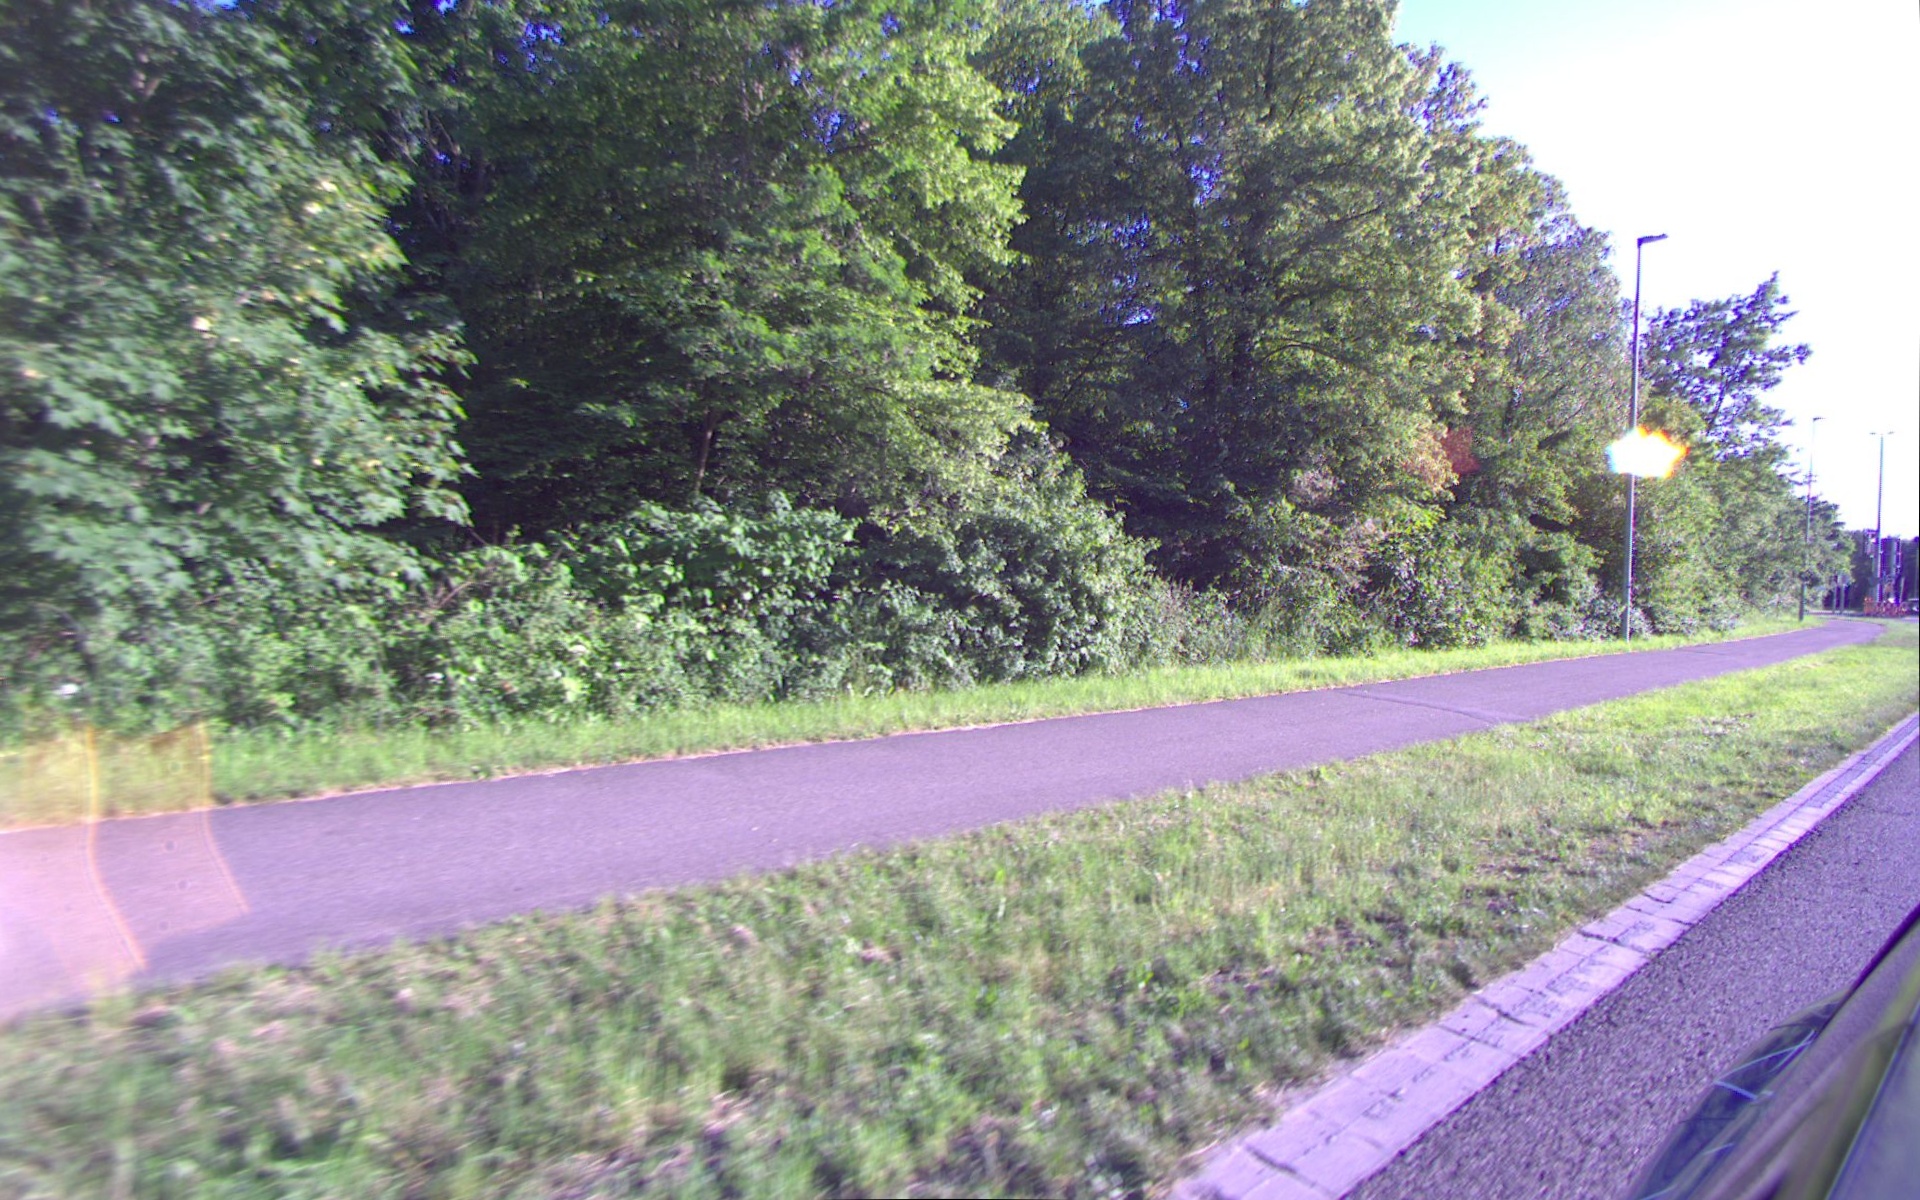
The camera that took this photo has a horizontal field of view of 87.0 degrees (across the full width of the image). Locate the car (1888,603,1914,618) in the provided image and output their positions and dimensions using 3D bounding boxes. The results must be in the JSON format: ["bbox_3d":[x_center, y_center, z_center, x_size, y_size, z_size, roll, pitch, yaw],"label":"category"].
[{"bbox_3d":[106.011,1.212,114.083,1.992,1.538,3.941,1,2,41],"label":"car"}]
